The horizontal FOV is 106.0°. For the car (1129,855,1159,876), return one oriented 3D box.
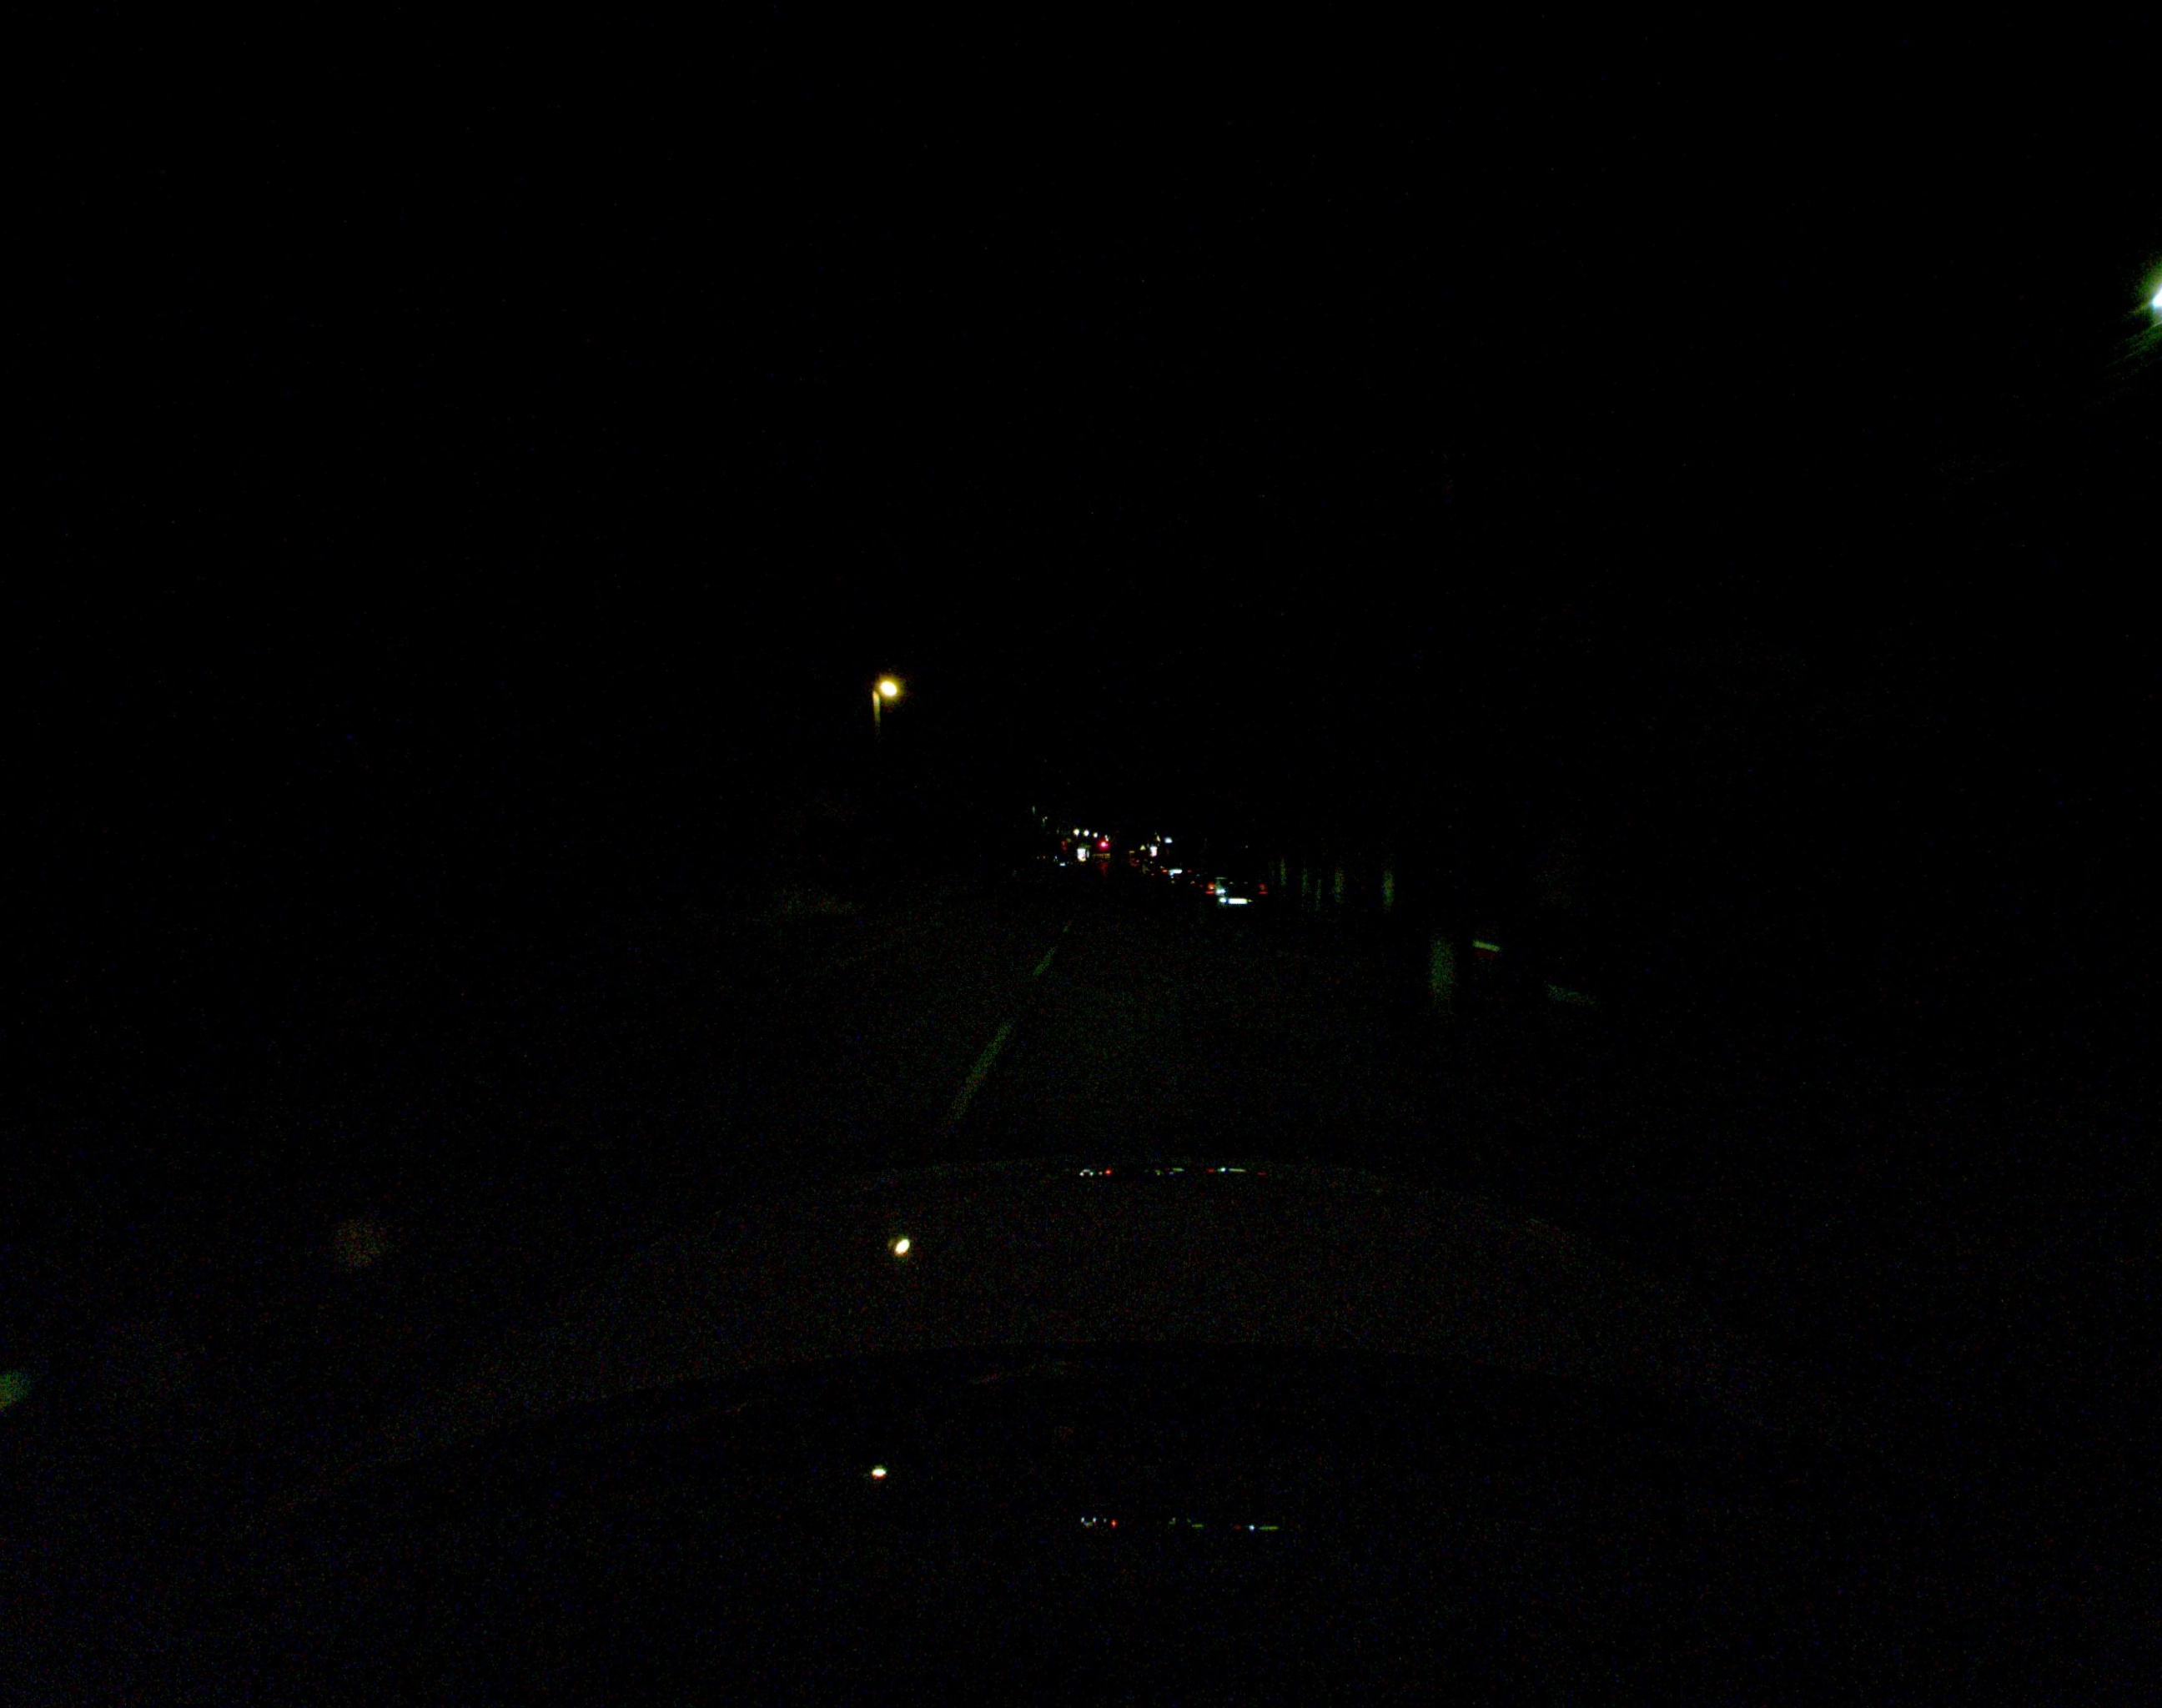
[{"bbox_3d":[4.720,0.844,61.313,1.679,1.448,3.994,1,0,-5],"label":"car"}]

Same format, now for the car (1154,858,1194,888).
[{"bbox_3d":[4.683,0.900,41.202,1.859,1.403,4.007,1,0,6],"label":"car"}]

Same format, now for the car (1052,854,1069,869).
[{"bbox_3d":[-2.224,0.761,88.268,1.748,1.539,3.728,-1,0,-2],"label":"car"}]

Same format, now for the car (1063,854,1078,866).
[{"bbox_3d":[-1.320,0.799,105.382,1.747,1.539,3.731,-1,0,1],"label":"car"}]

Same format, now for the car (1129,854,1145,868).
[{"bbox_3d":[6.393,0.778,92.883,1.675,1.539,4.003,-1,0,3],"label":"car"}]

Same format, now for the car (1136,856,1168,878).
[{"bbox_3d":[4.925,0.859,56.662,1.678,1.448,3.995,1,0,-3],"label":"car"}]

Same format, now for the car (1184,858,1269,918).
[{"bbox_3d":[3.776,0.834,21.750,1.624,1.439,3.864,0,0,0],"label":"car"}]

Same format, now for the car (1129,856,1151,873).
[{"bbox_3d":[5.196,0.887,72.487,1.677,1.448,3.999,1,0,0],"label":"car"}]

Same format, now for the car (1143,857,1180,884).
[{"bbox_3d":[4.527,0.903,46.057,1.677,1.448,3.999,1,0,0],"label":"car"}]
